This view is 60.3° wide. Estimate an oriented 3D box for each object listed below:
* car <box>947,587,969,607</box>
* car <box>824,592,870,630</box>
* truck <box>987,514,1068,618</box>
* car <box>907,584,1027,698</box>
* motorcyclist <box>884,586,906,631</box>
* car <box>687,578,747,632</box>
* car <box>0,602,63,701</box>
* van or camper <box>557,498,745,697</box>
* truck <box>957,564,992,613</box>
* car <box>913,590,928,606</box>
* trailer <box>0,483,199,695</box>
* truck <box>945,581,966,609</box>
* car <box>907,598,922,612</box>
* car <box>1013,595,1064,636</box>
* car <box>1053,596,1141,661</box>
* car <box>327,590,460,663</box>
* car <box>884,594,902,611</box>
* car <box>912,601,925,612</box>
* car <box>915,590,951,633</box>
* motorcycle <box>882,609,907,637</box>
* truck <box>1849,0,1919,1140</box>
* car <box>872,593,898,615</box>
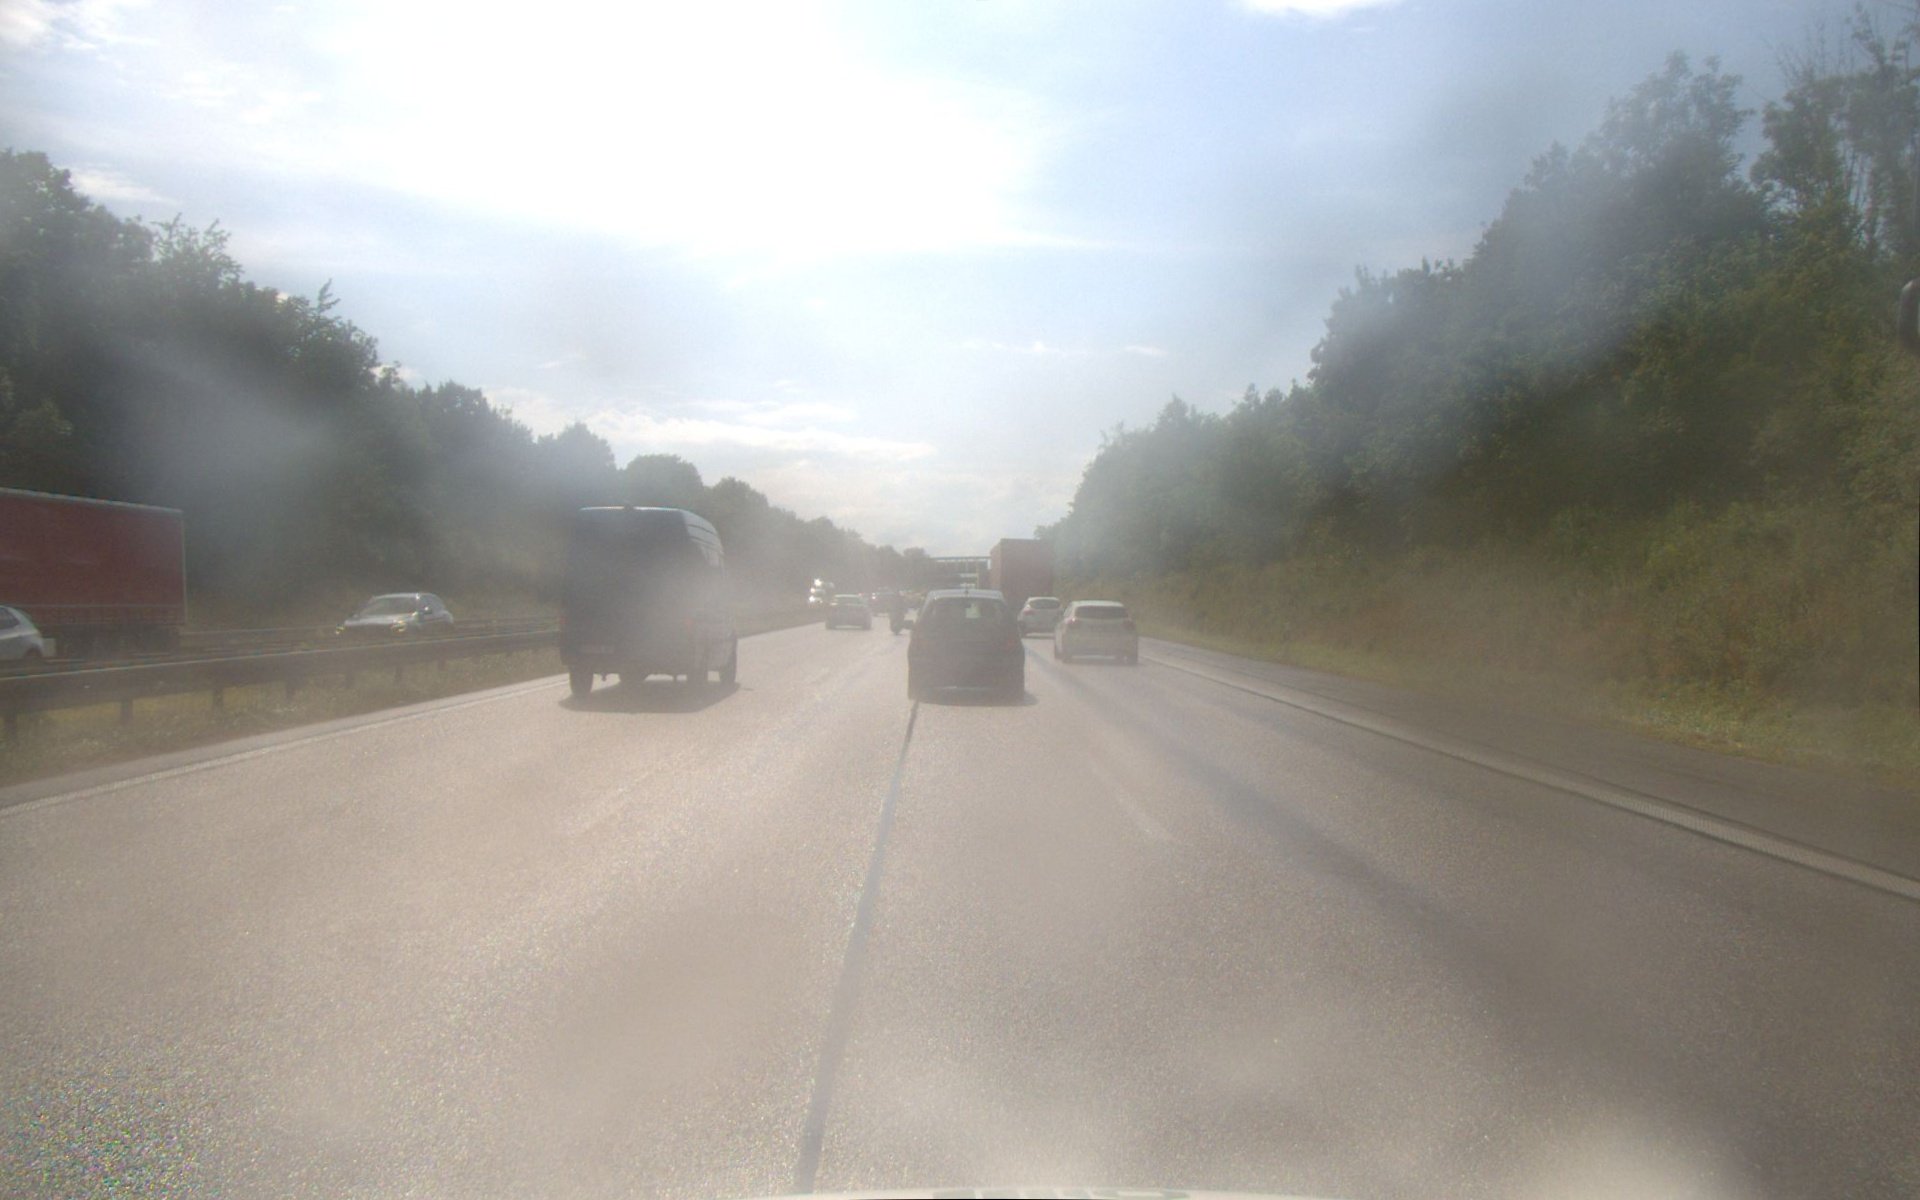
[{"bbox_3d":[-0.125,-0.231,120.991,1.521,1.407,3.209,1,0,-1],"label":"car"},{"bbox_3d":[-4.892,0.478,71.871,1.817,1.578,3.484,1,0,-1],"label":"car"},{"bbox_3d":[3.280,-1.566,85.534,3.575,4.803,16.779,1,0,1],"label":"truck"},{"bbox_3d":[0.067,0.585,25.268,1.683,1.595,3.484,1,0,-1],"label":"car"},{"bbox_3d":[-2.450,0.330,62.586,0.785,1.662,1.013,1,0,-1],"label":"motorcyclist"},{"bbox_3d":[-11.662,0.232,79.806,2.139,2.495,5.746,1,0,-1],"label":"car"},{"bbox_3d":[-17.349,0.889,28.373,1.665,1.692,4.235,1,0,-1],"label":"car"},{"bbox_3d":[-4.604,-0.034,25.483,1.953,2.715,5.383,1,0,-1],"label":"van or camper"},{"bbox_3d":[1.440,-1.041,161.071,3.189,4.558,12.421,1,0,1],"label":"truck"},{"bbox_3d":[-5.131,-0.322,215.671,1.953,2.049,3.999,0,0,-1],"label":"car"},{"bbox_3d":[-21.649,-0.250,37.125,2.805,4.449,14.089,1,0,-1],"label":"trailer"},{"bbox_3d":[-0.523,-0.519,176.761,2.147,2.926,4.848,1,0,-1],"label":"truck"},{"bbox_3d":[-4.713,0.526,171.021,1.455,1.414,3.197,1,0,-1],"label":"car"},{"bbox_3d":[2.910,0.549,61.987,1.646,1.467,3.904,1,0,-1],"label":"car"},{"bbox_3d":[3.235,0.655,39.604,1.658,1.450,4.219,1,0,-1],"label":"car"},{"bbox_3d":[-13.931,0.626,40.944,1.800,1.692,4.440,1,0,-1],"label":"car"},{"bbox_3d":[-5.591,0.191,138.207,1.431,1.418,3.310,1,0,-1],"label":"car"},{"bbox_3d":[-4.880,0.720,194.067,1.518,1.289,3.483,1,0,-2],"label":"car"},{"bbox_3d":[-1.162,0.467,70.942,1.500,1.777,3.484,1,0,-1],"label":"car"},{"bbox_3d":[-2.456,0.850,62.628,0.872,1.018,2.895,1,0,-1],"label":"motorcycle"},{"bbox_3d":[3.988,-0.507,1.388,2.553,4.065,7.290,1,0,0],"label":"truck"},{"bbox_3d":[-5.283,0.304,116.187,1.716,1.482,3.389,1,0,-1],"label":"car"}]
